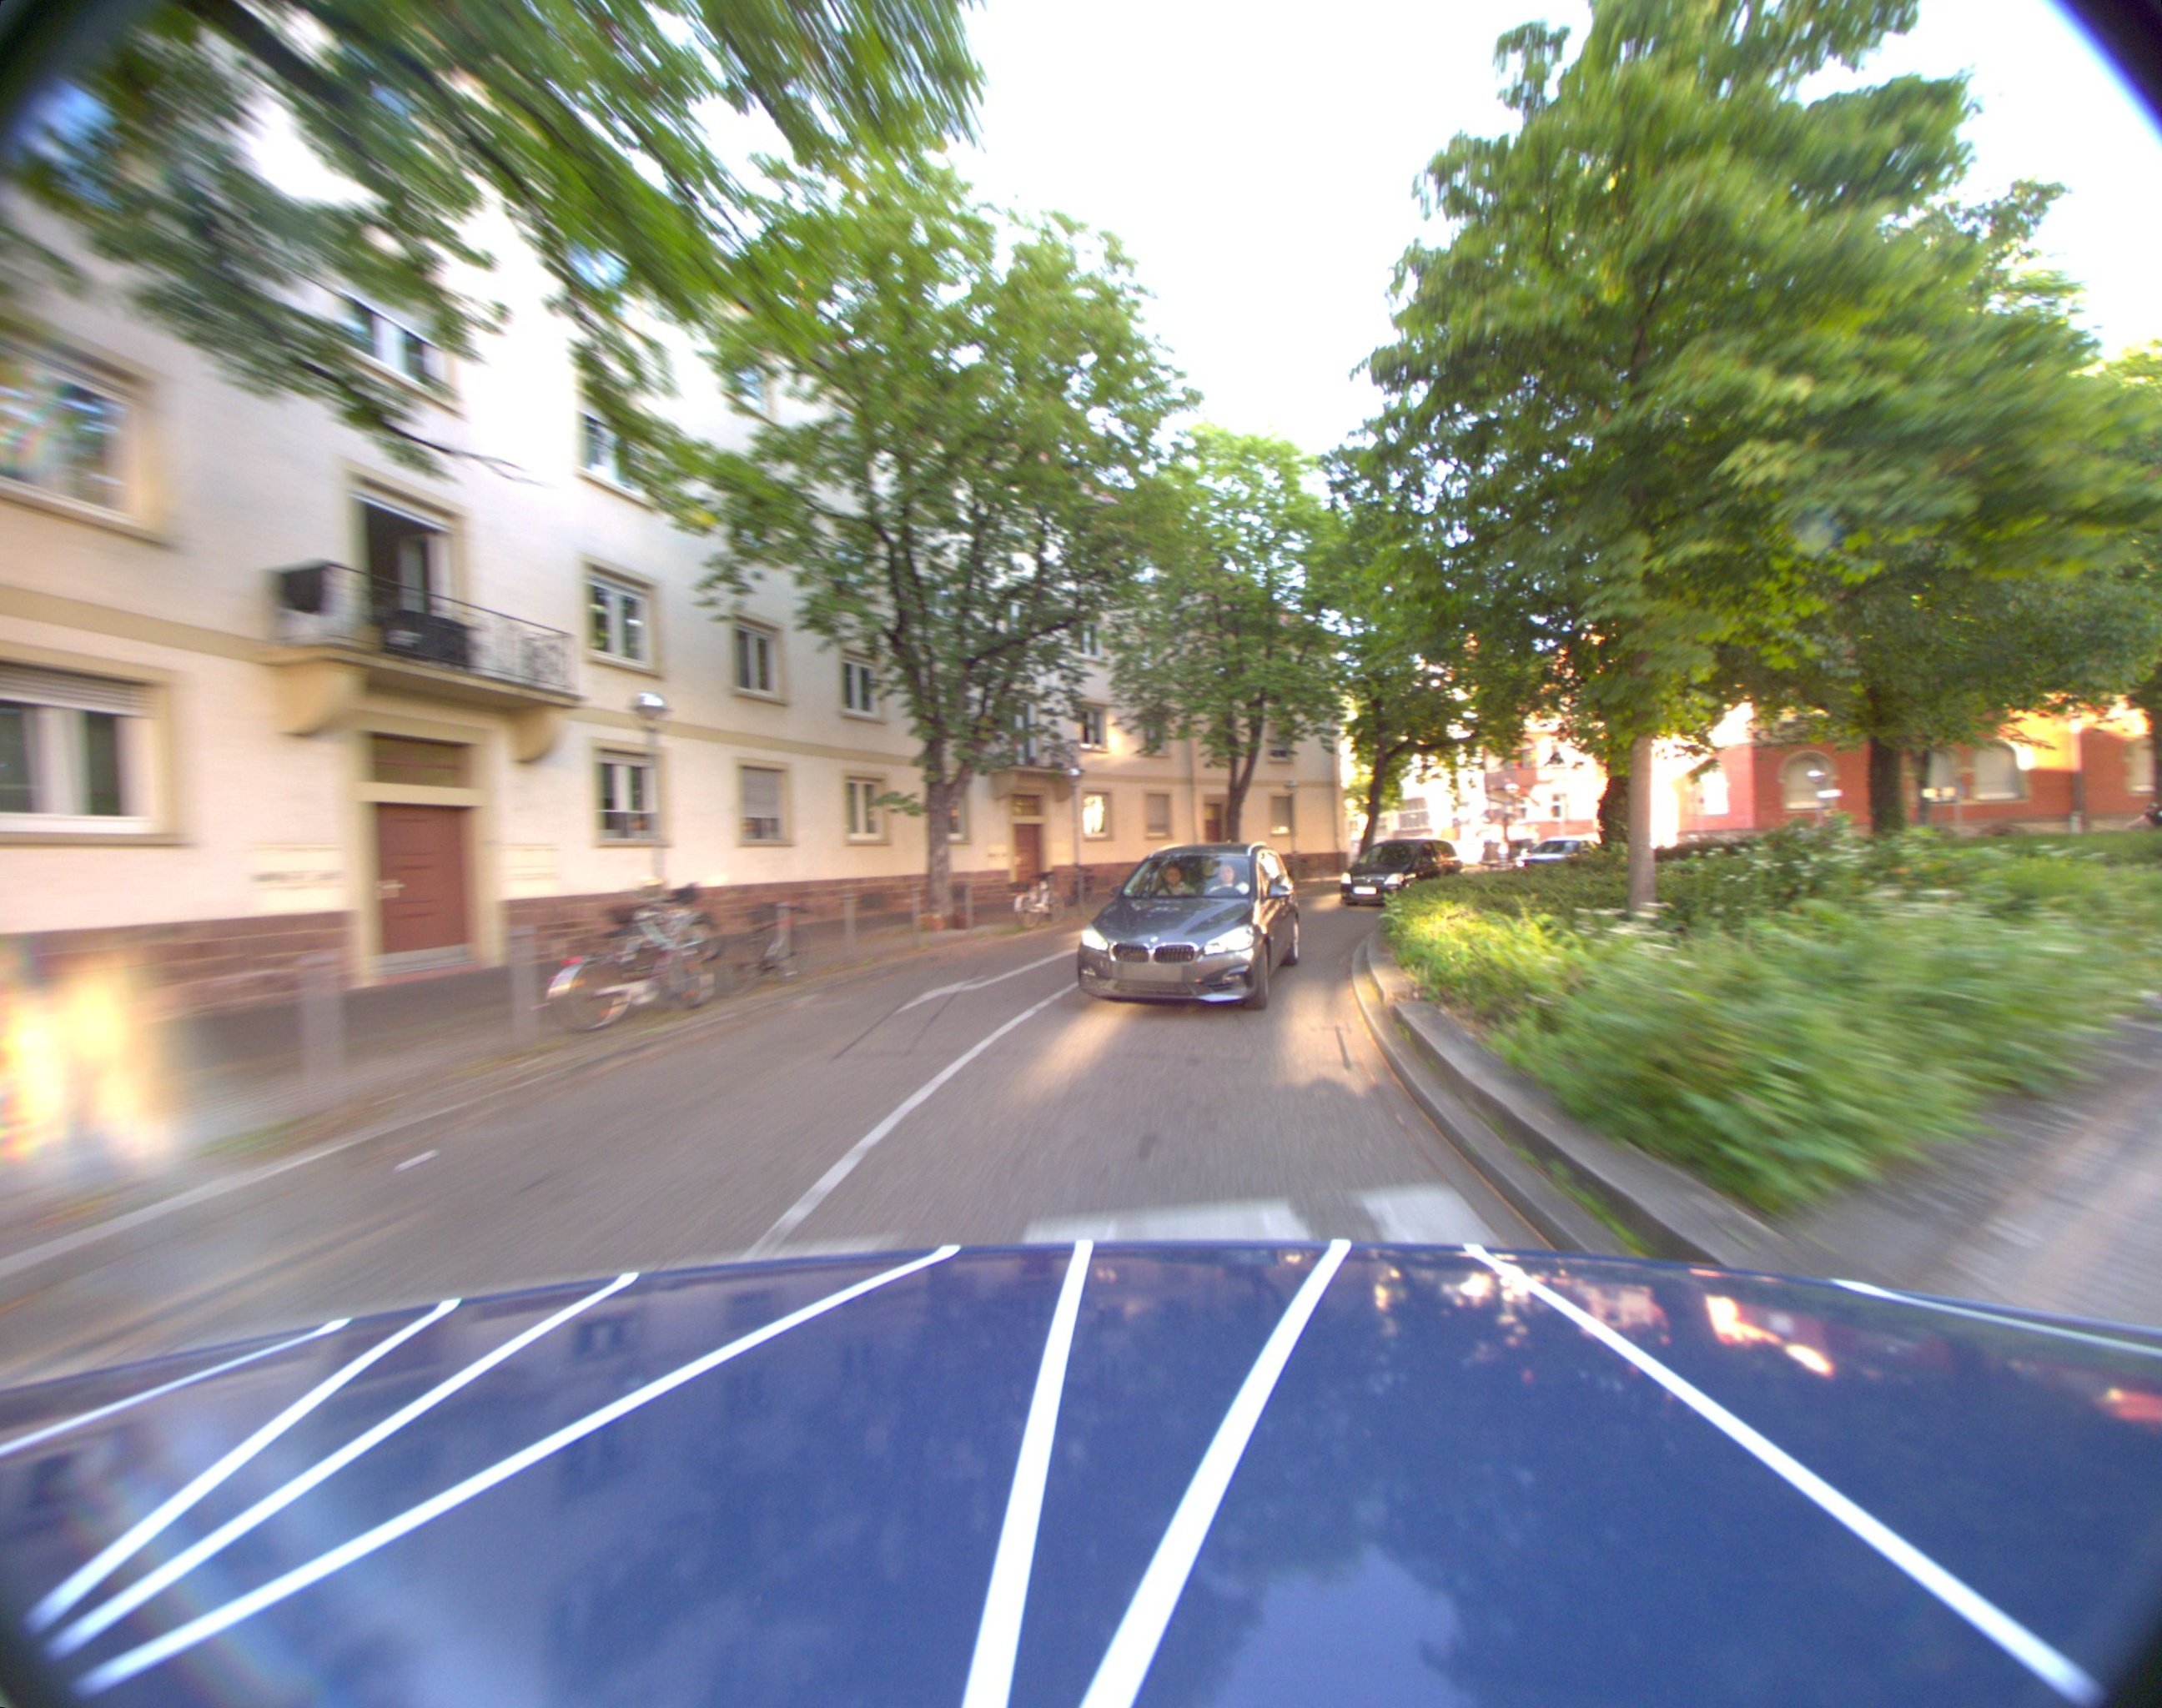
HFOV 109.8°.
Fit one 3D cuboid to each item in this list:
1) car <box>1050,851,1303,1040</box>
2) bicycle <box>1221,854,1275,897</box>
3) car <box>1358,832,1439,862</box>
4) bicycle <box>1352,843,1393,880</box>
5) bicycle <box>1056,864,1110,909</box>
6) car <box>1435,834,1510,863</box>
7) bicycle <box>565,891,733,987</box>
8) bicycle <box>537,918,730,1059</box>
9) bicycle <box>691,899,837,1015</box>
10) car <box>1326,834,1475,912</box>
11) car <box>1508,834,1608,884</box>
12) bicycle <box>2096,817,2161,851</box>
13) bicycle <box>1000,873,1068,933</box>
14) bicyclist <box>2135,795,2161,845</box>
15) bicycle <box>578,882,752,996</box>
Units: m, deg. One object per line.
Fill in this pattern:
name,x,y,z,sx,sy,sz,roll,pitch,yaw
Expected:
car,1.363,0.787,8.667,1.791,1.569,4.267,-2,0,22
bicycle,5.141,0.640,23.263,0.718,1.216,1.918,-2,1,42
car,17.464,-0.374,41.863,3.804,1.417,1.675,-3,0,-10
bicycle,10.975,0.286,28.567,0.766,1.297,1.906,-2,1,43
bicycle,0.080,0.871,20.824,0.801,1.112,1.861,-2,0,21
car,22.591,-0.289,44.015,1.806,1.543,4.183,-2,0,-7
bicycle,-5.998,1.136,10.689,0.668,1.101,1.970,-3,0,26
bicycle,-4.273,1.234,7.400,0.481,1.057,1.638,0,1,23
bicycle,-3.688,1.152,9.001,0.526,1.101,1.743,1,1,21
car,7.804,0.399,18.457,3.694,1.619,1.676,-3,1,-37
car,15.249,0.116,24.220,3.694,1.400,1.676,-3,2,-41
bicycle,34.386,-0.660,24.467,0.639,1.051,1.976,-3,1,-40
bicycle,-0.941,0.982,15.834,0.513,1.089,1.977,0,1,25
bicyclist,34.366,-1.092,24.430,0.496,1.564,0.500,-3,1,-40
bicycle,-5.490,1.058,10.195,0.717,1.270,1.970,-1,1,25
